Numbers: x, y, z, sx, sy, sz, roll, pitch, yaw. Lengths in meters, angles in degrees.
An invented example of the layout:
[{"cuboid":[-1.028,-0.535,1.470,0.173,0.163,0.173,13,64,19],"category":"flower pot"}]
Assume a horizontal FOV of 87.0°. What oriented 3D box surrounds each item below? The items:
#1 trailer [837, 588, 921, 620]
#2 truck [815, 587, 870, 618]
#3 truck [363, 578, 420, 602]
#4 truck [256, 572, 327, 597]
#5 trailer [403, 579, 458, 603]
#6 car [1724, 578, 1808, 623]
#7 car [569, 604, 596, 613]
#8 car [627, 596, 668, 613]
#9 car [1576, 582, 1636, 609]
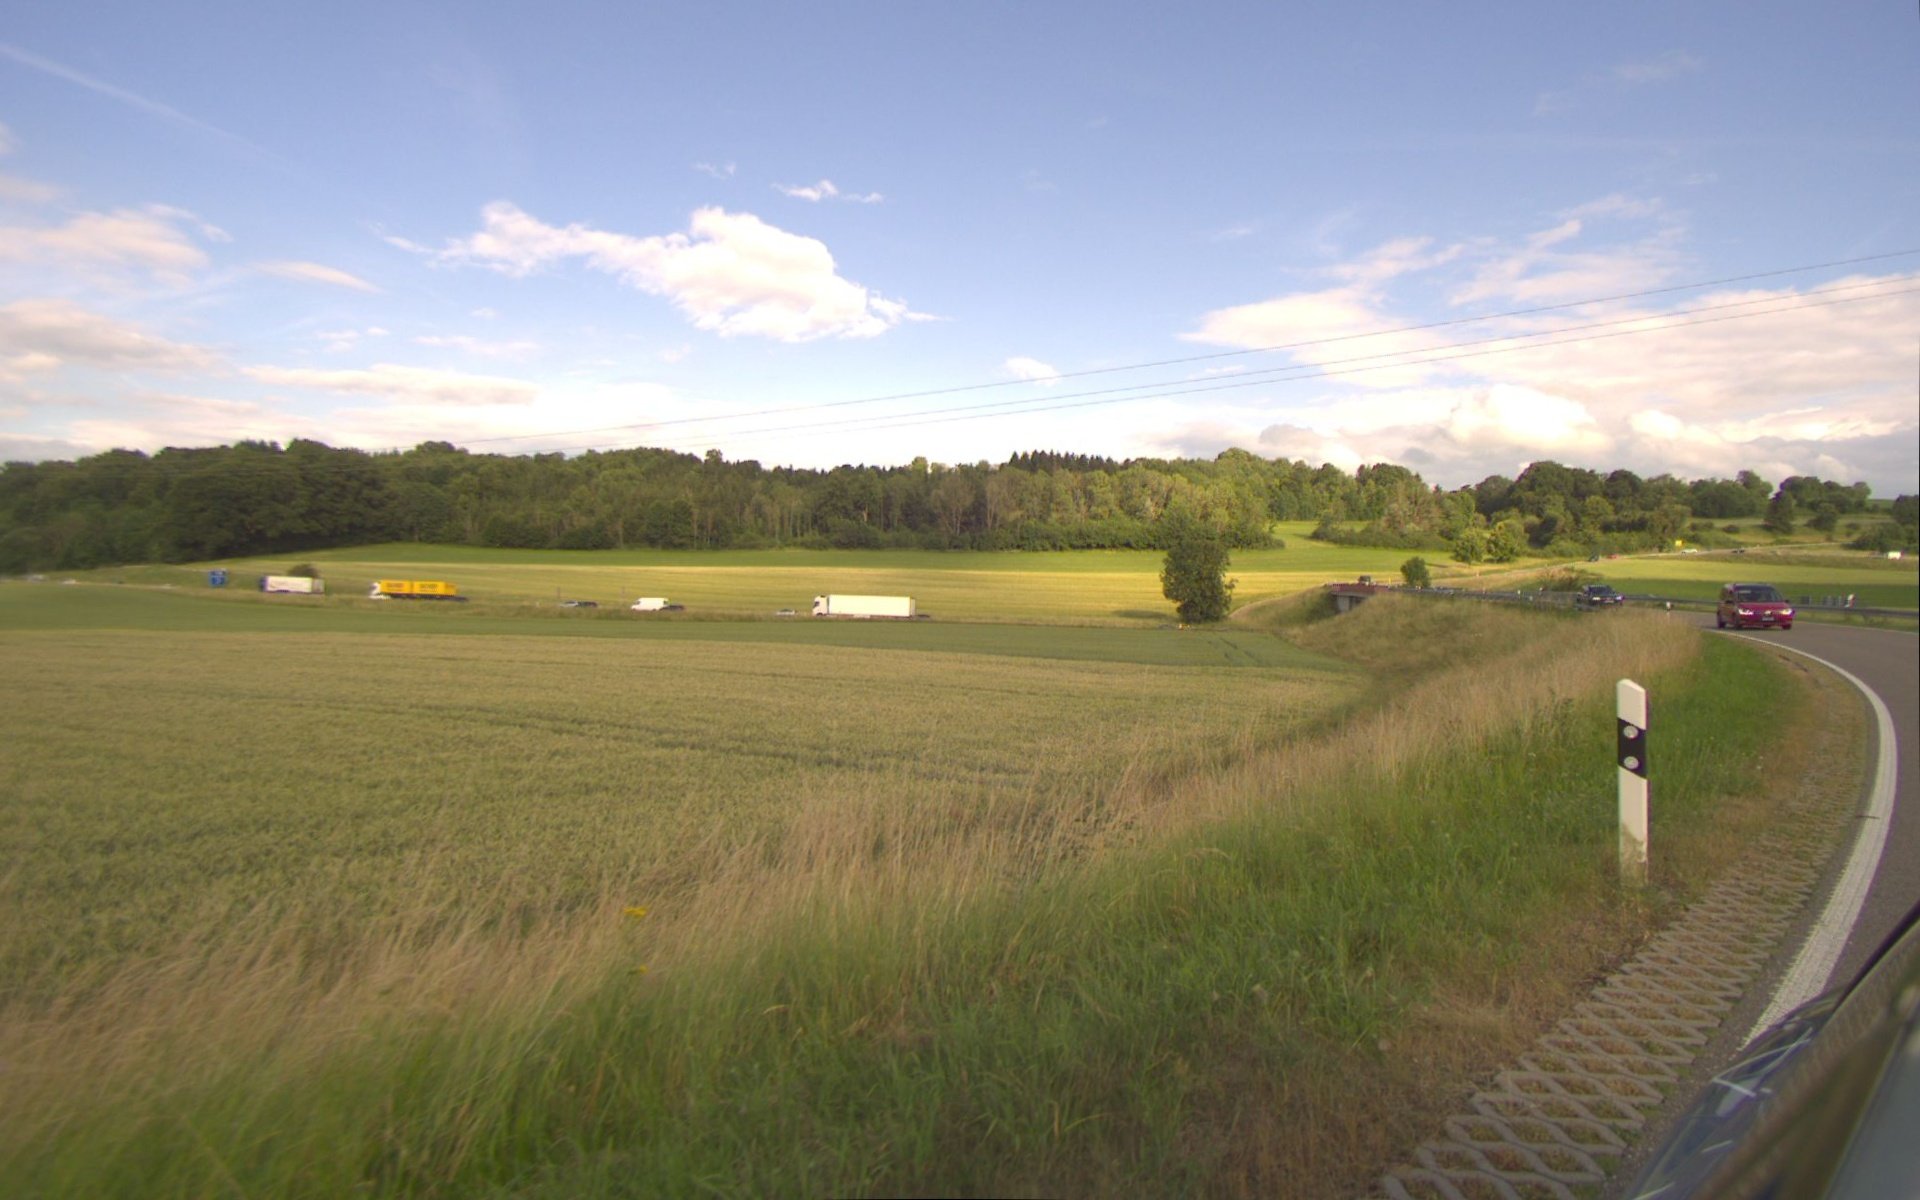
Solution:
[{"cuboid":[-12.532,0.623,155.970,12.550,4.526,3.016,2,-1,16],"category":"trailer"},{"cuboid":[-18.321,0.448,157.693,7.944,4.526,3.013,2,-1,16],"category":"truck"},{"cuboid":[-105.748,-1.899,188.280,9.673,4.108,3.817,1,4,18],"category":"truck"},{"cuboid":[-132.178,-3.098,200.164,14.246,4.042,4.057,2,5,20],"category":"truck"},{"cuboid":[-96.959,-1.684,185.336,9.007,4.108,3.818,1,4,18],"category":"trailer"},{"cuboid":[31.809,0.044,40.044,1.805,1.676,3.962,0,0,27],"category":"car"},{"cuboid":[-61.905,1.393,165.957,3.941,1.538,1.676,0,1,15],"category":"car"},{"cuboid":[-51.959,0.752,168.314,6.035,2.619,2.361,2,-3,15],"category":"car"},{"cuboid":[41.624,-0.316,65.304,1.792,1.631,3.990,2,1,9],"category":"car"}]
